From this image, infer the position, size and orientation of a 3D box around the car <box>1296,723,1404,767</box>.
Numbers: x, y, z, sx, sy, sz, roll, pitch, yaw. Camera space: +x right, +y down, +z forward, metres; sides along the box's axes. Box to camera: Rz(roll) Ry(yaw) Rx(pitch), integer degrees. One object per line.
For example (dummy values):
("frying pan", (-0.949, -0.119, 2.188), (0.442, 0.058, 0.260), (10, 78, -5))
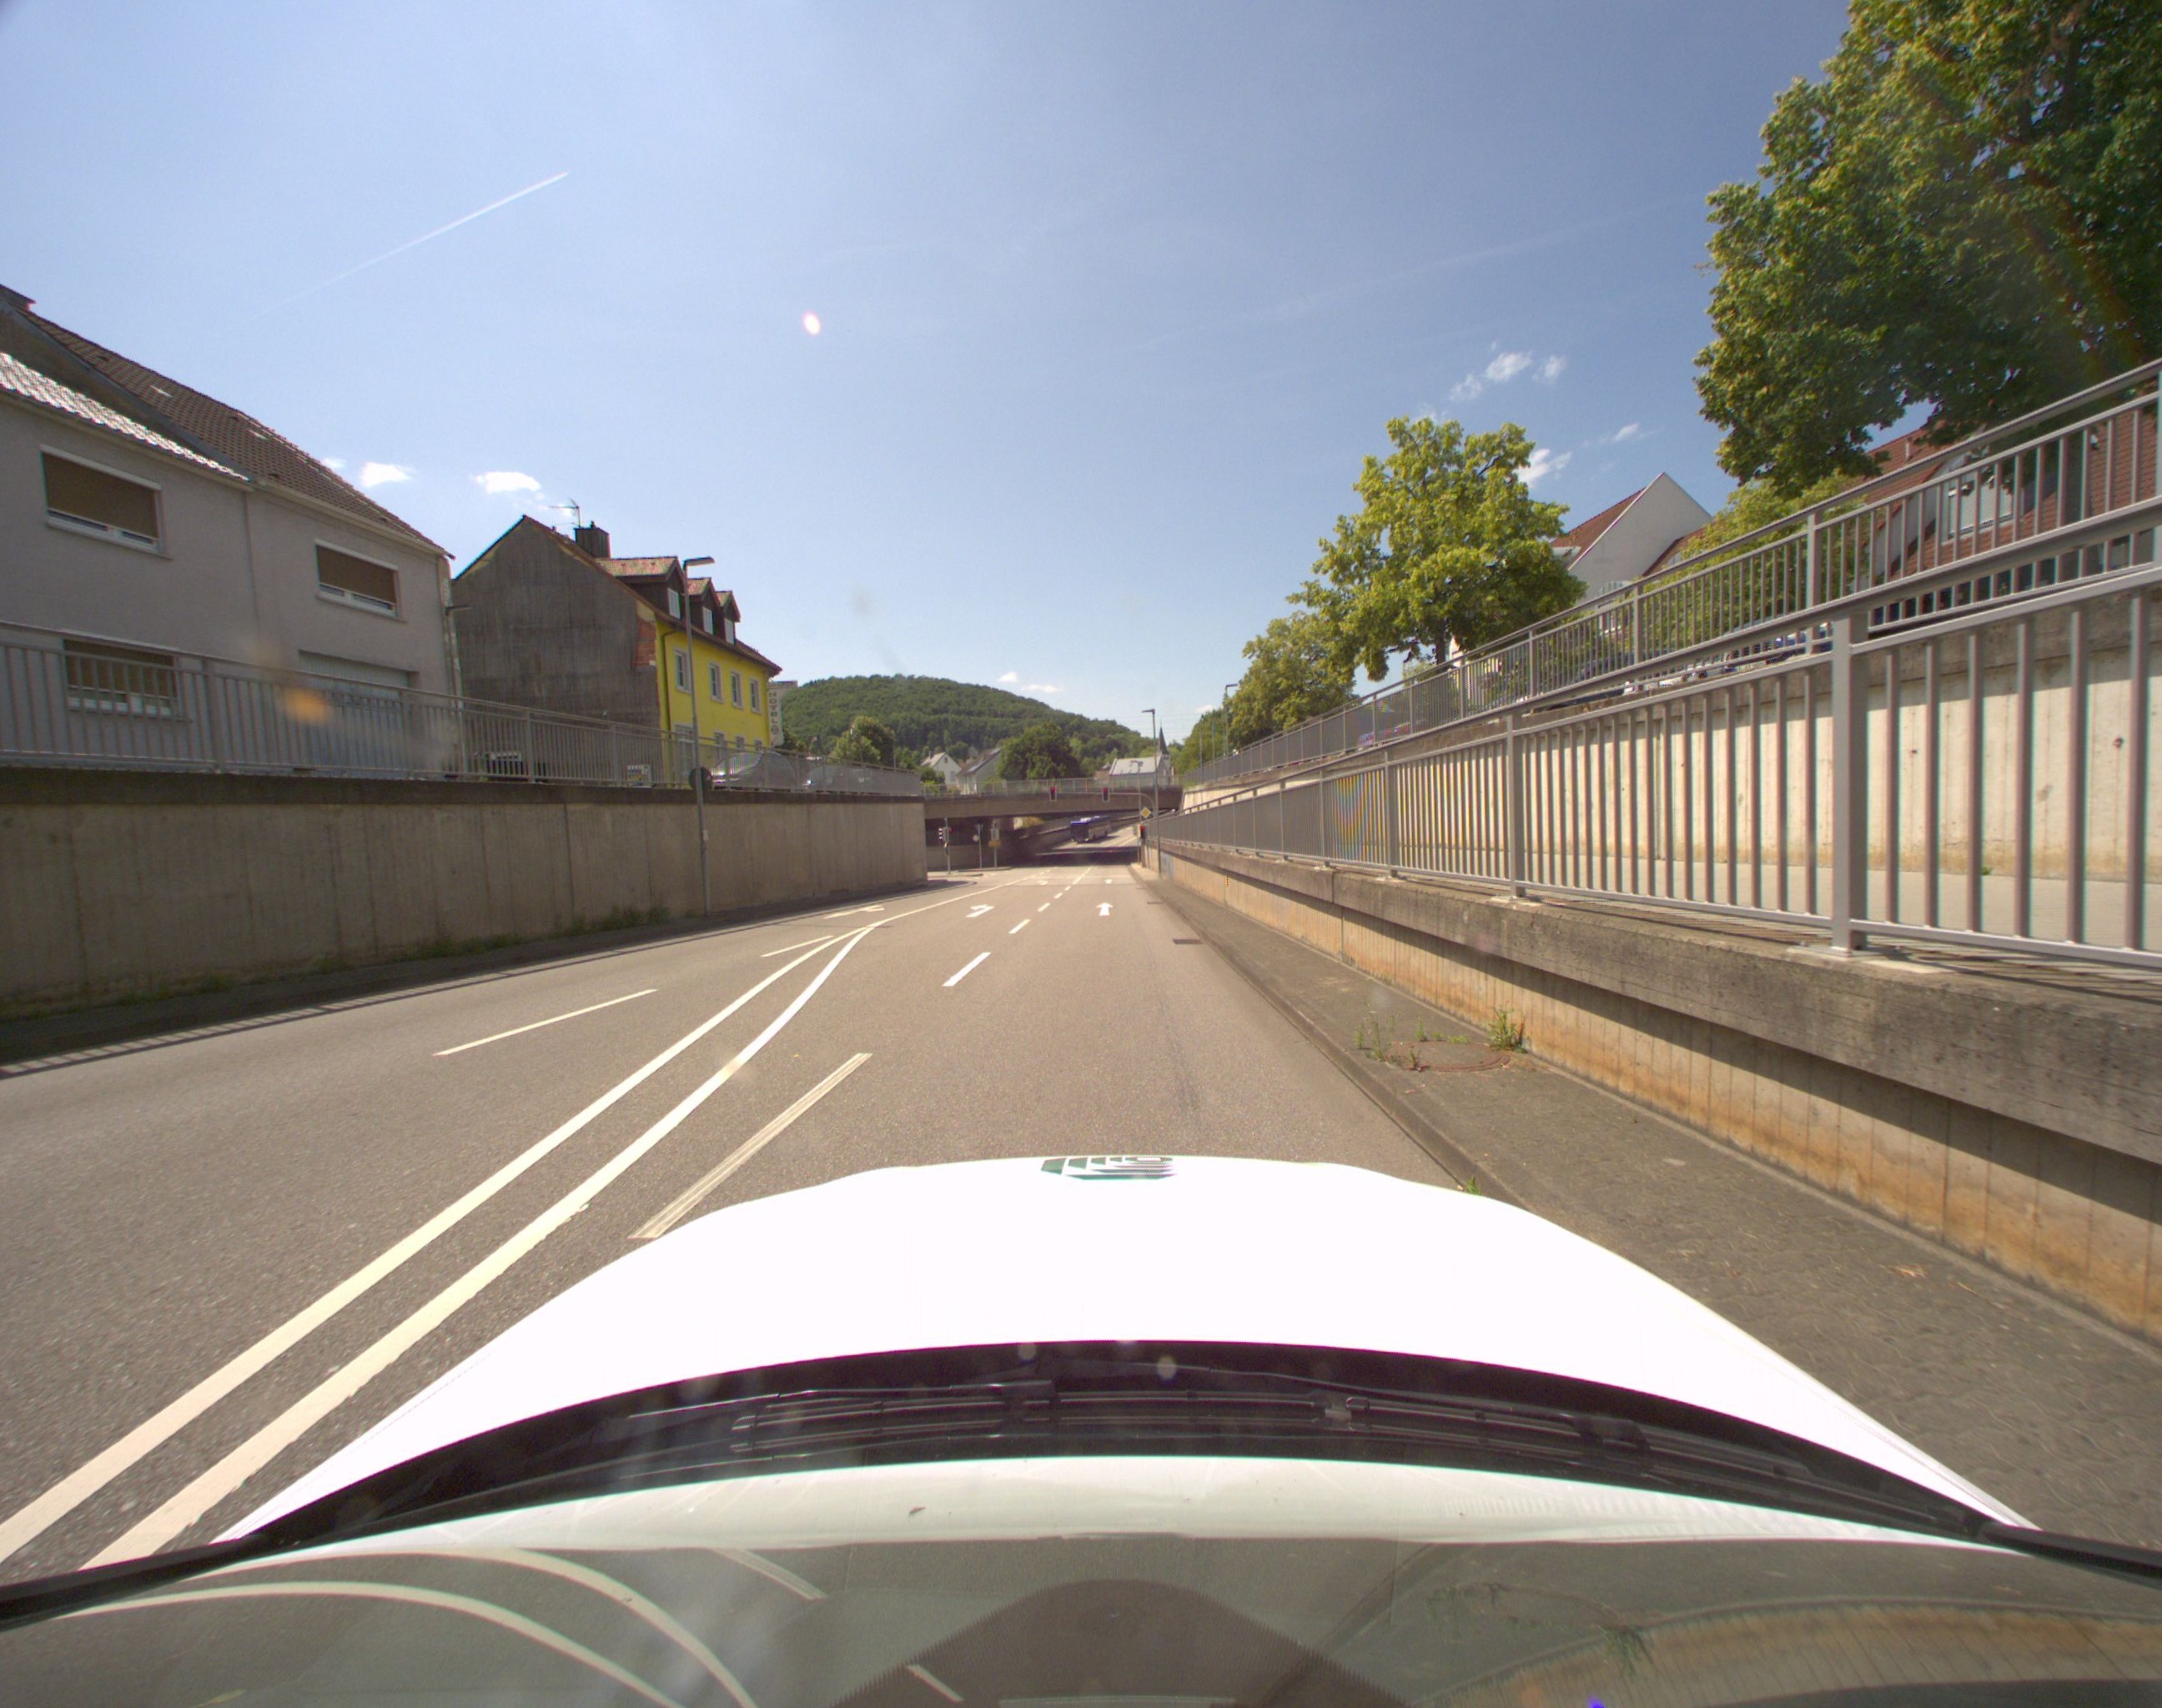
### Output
("car", (11.125, -4.526, 33.948), (3.968, 1.486, 1.772), (-1, 0, 5))

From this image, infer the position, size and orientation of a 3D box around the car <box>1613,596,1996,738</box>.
("car", (10.384, -2.663, 11.952), (3.969, 1.555, 1.727), (-1, 0, 4))

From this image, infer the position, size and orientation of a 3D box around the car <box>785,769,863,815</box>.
("car", (-10.553, -2.518, 33.820), (1.816, 1.705, 4.223), (-2, 2, 0))

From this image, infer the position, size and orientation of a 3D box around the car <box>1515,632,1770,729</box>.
("car", (11.399, -3.509, 16.755), (3.968, 1.486, 1.772), (-1, 0, 5))

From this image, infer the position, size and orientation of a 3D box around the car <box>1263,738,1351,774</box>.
("car", (11.253, -4.869, 40.784), (3.968, 1.486, 1.772), (-1, 0, 5))

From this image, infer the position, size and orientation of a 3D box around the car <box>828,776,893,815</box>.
("car", (-10.387, -2.738, 38.708), (1.896, 1.667, 4.001), (-2, 2, 0))

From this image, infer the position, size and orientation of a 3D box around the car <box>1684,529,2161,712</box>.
("car", (9.857, -2.678, 9.729), (3.969, 1.555, 1.727), (-1, 0, 4))

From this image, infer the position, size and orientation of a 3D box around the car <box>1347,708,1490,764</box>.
("car", (10.988, -3.830, 26.723), (3.968, 1.486, 1.772), (-1, 0, 5))

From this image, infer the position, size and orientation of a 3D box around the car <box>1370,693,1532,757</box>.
("car", (10.777, -3.743, 23.957), (3.968, 1.486, 1.772), (-1, 0, 5))

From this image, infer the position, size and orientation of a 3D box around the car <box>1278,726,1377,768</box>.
("car", (10.964, -4.774, 36.471), (3.968, 1.567, 1.772), (-1, 0, 5))

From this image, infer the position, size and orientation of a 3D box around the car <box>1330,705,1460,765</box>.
("car", (11.082, -4.189, 28.951), (3.968, 1.770, 1.772), (-1, 0, 5))

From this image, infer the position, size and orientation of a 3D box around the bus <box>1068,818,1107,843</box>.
("bus", (1.058, -3.426, 115.268), (2.562, 3.172, 12.427), (-1, 2, 14))

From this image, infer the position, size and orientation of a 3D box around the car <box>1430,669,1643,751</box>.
("car", (10.502, -3.303, 19.028), (3.968, 1.486, 1.772), (-1, 0, 5))

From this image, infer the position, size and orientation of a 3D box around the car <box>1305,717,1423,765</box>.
("car", (10.876, -4.351, 31.519), (3.968, 1.486, 1.772), (-1, 0, 5))

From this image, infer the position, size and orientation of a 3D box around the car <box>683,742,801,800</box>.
("car", (-10.520, -2.535, 25.632), (1.792, 1.524, 4.394), (-2, 2, 0))

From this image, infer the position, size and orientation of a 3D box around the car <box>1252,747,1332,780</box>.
("car", (11.449, -4.914, 44.450), (3.968, 1.486, 1.772), (-1, 0, 5))
